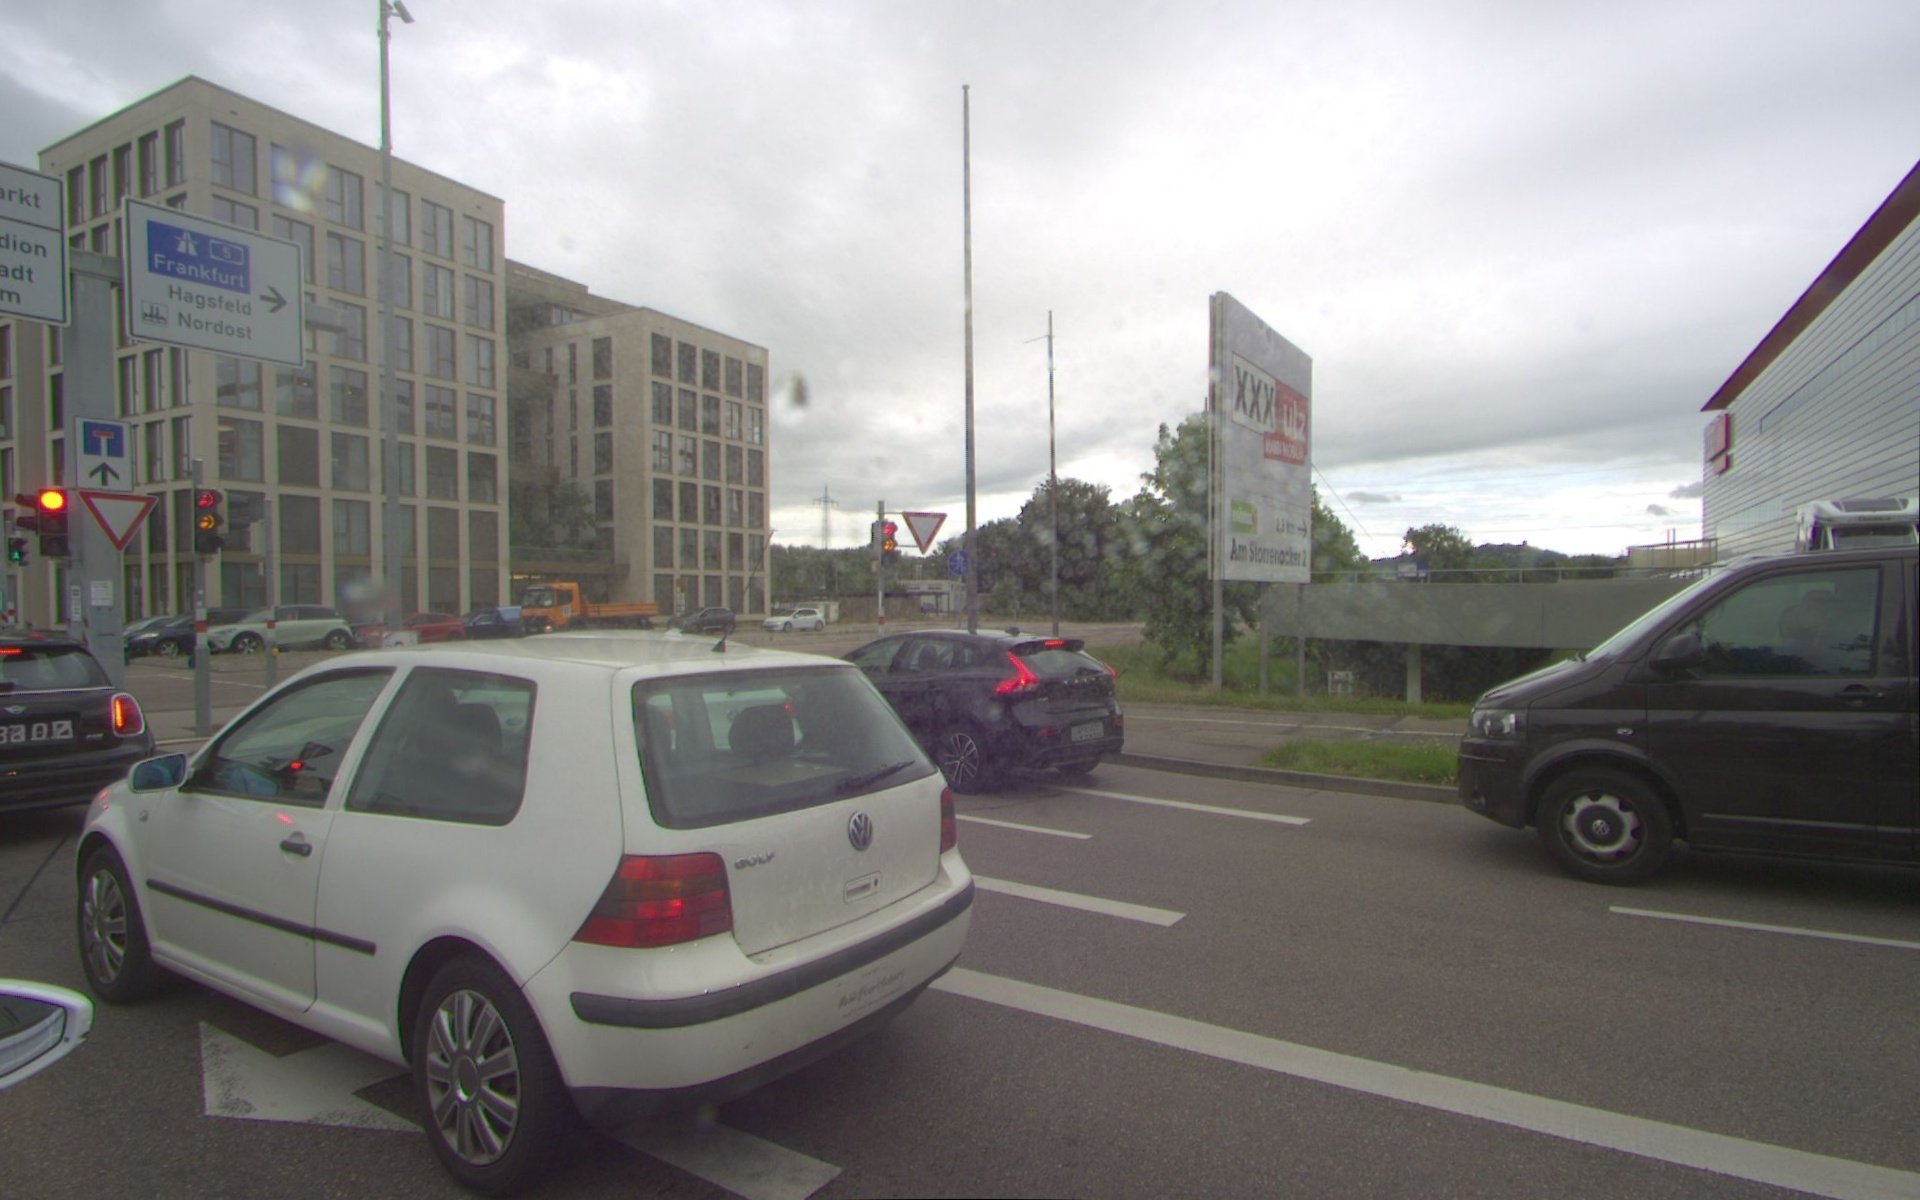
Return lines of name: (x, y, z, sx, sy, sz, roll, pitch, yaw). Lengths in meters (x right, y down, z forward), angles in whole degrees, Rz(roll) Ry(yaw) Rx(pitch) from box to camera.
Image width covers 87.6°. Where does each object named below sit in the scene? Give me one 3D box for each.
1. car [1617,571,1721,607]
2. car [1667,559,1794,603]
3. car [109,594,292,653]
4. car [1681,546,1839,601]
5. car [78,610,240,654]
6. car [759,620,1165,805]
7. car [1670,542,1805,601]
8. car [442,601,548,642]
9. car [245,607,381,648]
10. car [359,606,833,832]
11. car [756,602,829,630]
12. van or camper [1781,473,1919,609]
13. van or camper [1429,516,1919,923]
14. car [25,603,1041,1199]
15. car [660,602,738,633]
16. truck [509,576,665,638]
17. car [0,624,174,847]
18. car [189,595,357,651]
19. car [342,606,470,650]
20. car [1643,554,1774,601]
car: (36.371, -0.539, 51.505, 4.199, 1.697, 1.768, -1, -2, 32)
car: (33.361, -0.801, 43.525, 4.199, 1.697, 1.768, -1, -2, 32)
car: (-24.998, 0.803, 33.131, 1.969, 1.791, 4.405, -1, -2, 28)
car: (28.404, -0.891, 35.726, 4.199, 1.697, 1.768, -1, -2, 32)
car: (-27.752, 1.115, 34.831, 1.724, 1.450, 4.083, -1, -2, 28)
car: (-0.170, 0.978, 10.187, 1.885, 1.467, 4.144, 1, -2, -41)
car: (30.068, -1.058, 38.896, 3.945, 2.039, 1.989, -1, -2, 34)
car: (-21.496, 1.024, 46.439, 1.969, 1.791, 4.134, -1, -2, 28)
car: (-25.250, 1.109, 39.240, 1.843, 1.509, 4.134, -1, -2, 28)
car: (-3.164, 0.827, 8.344, 4.146, 1.428, 1.822, -2, -2, 38)
car: (-10.551, 1.038, 63.433, 1.977, 1.678, 4.326, -2, -2, 41)
van or camper: (25.387, -1.441, 28.055, 2.676, 3.175, 7.201, -1, -2, 32)
van or camper: (5.567, 0.622, 5.799, 4.878, 2.039, 2.151, -1, -2, 35)
car: (-1.845, 0.823, 4.001, 3.948, 1.496, 1.829, -1, -2, 32)
car: (-15.038, 1.042, 57.841, 1.972, 1.678, 4.098, -1, -2, 33)
truck: (-17.328, 0.430, 46.986, 2.779, 2.672, 6.647, -1, -2, 30)
car: (-7.667, 0.913, 7.456, 3.592, 1.433, 1.783, -1, -2, 33)
car: (-21.849, 0.776, 32.024, 1.875, 1.664, 4.055, -1, -2, 27)
car: (-21.630, 1.122, 39.250, 1.970, 1.622, 3.984, -1, -2, 29)
car: (30.953, -0.886, 41.572, 4.199, 1.697, 1.768, -1, -2, 32)
